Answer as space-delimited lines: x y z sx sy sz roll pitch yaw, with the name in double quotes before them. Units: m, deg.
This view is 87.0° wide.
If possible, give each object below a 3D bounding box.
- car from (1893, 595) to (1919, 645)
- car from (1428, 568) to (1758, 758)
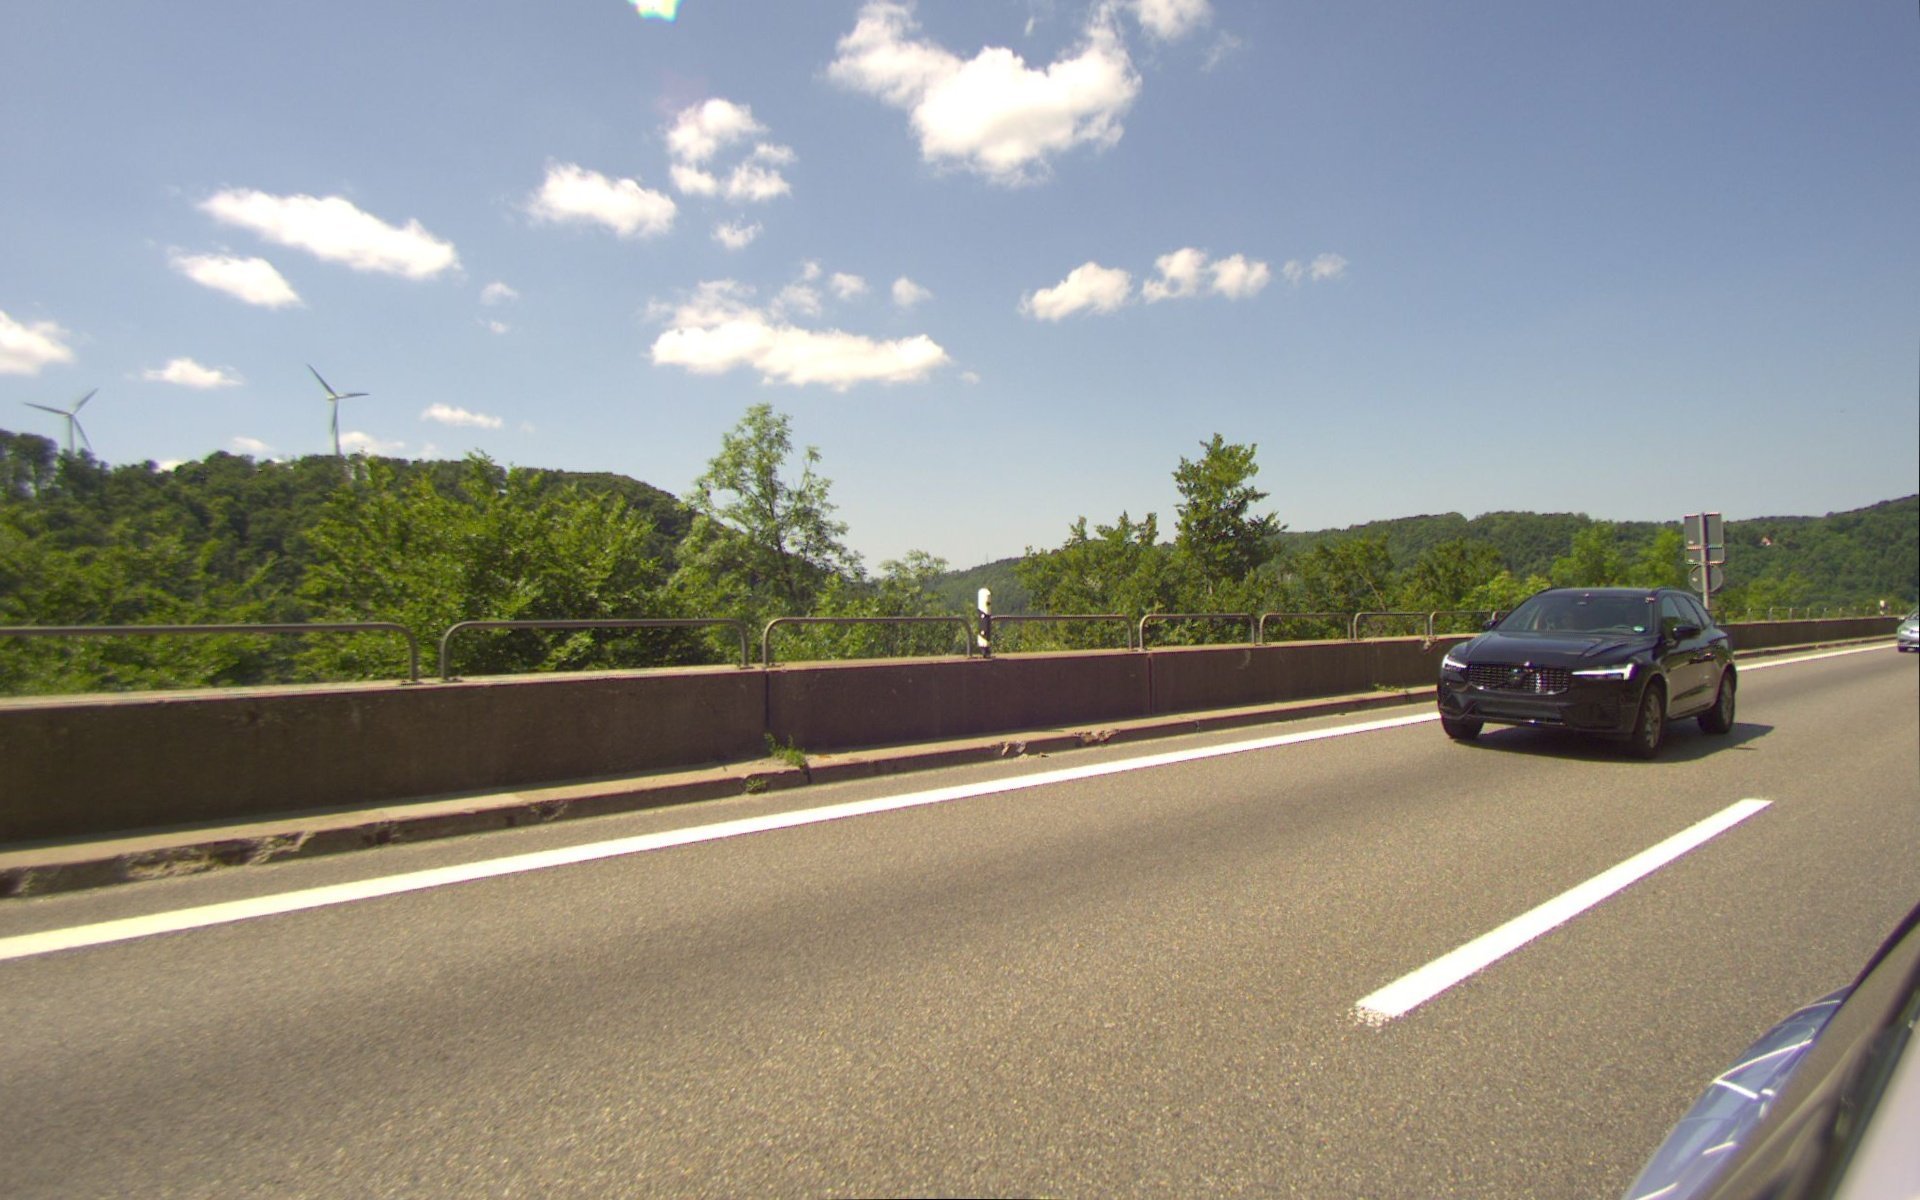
"car" 29.509 0.551 29.984 4.214 1.395 1.973 -1 -1 -37
"car" 7.054 0.563 11.066 4.581 1.654 1.838 1 0 -41
